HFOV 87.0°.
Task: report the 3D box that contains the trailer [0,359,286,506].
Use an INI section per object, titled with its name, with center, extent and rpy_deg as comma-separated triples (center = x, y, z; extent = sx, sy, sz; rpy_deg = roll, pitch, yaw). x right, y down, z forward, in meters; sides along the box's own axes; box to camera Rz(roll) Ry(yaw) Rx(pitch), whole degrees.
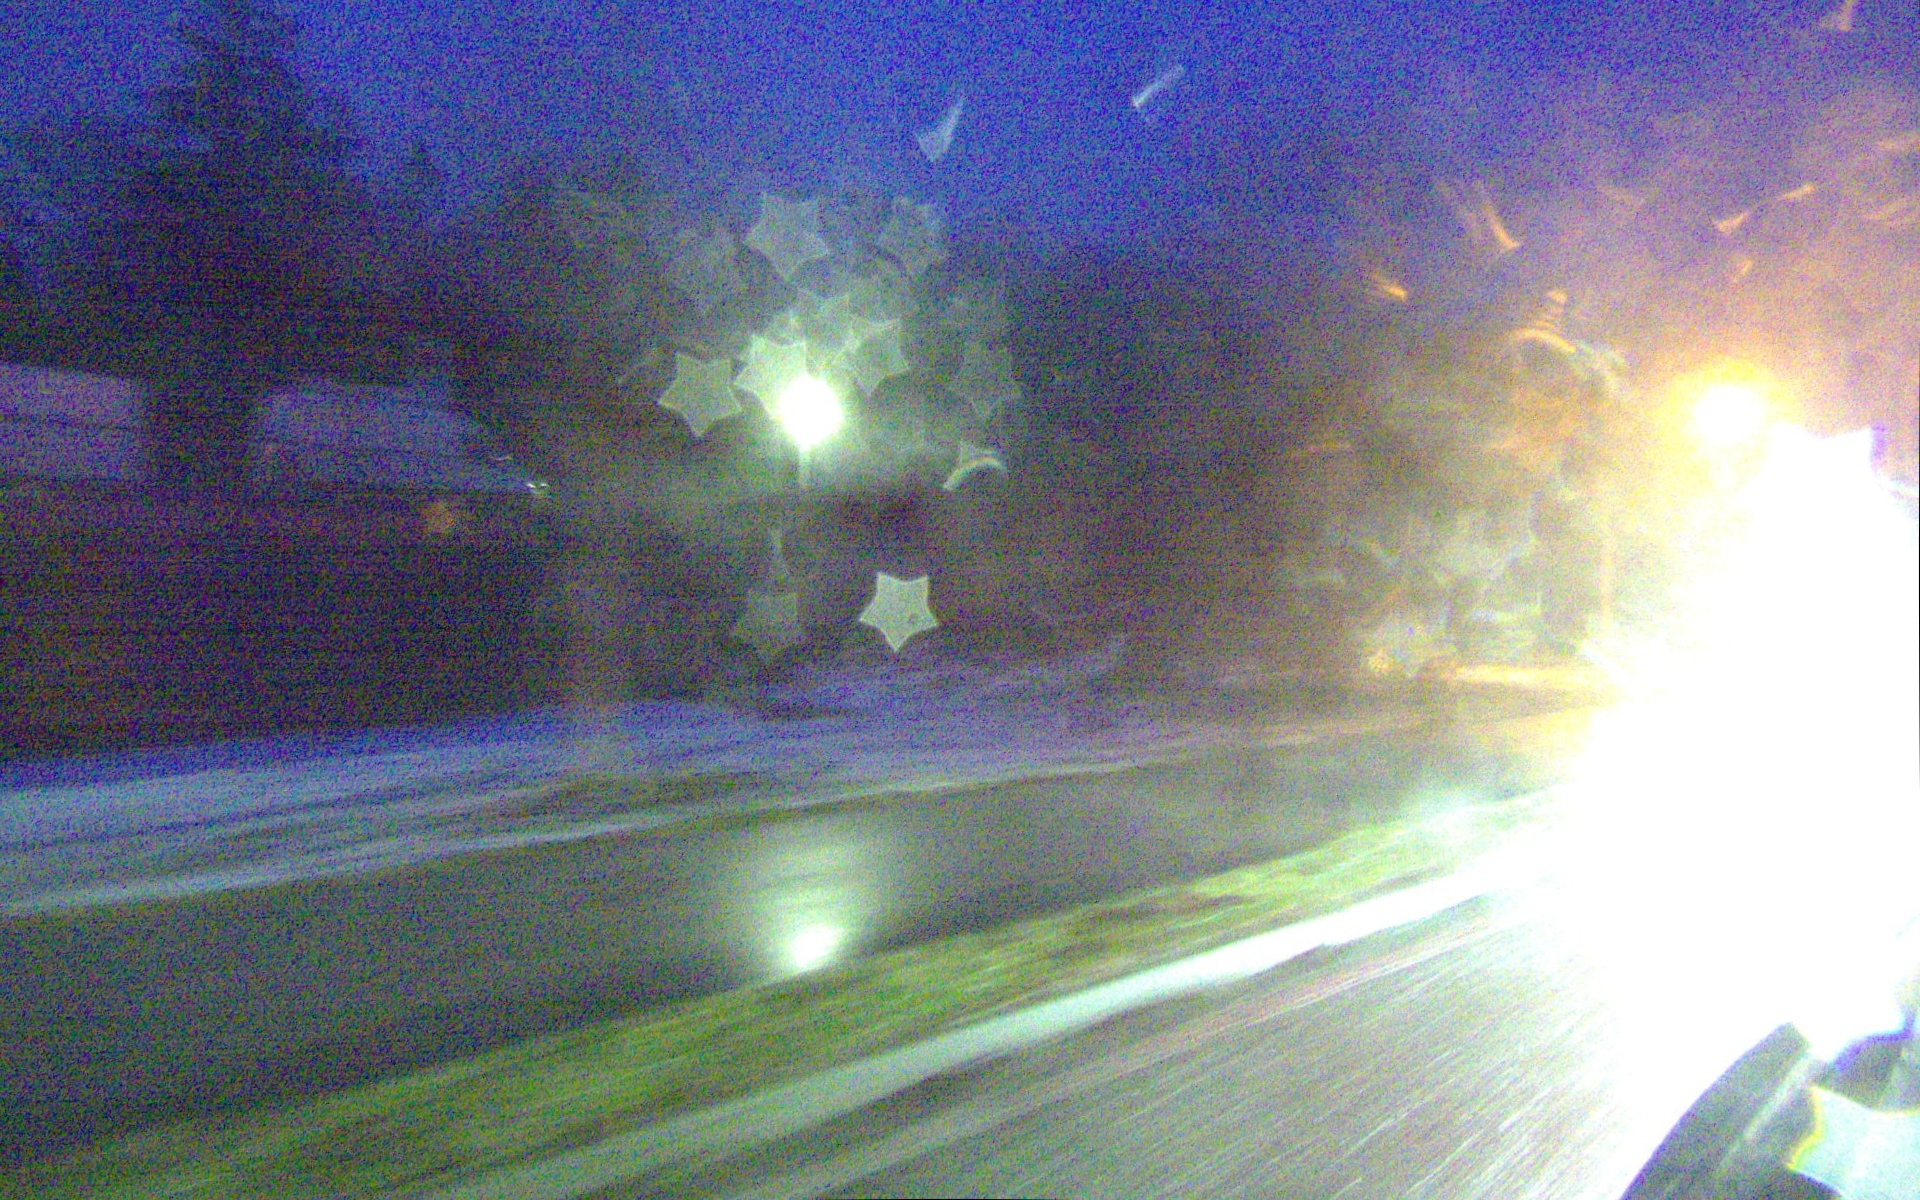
[trailer]
center = -15.911, -2.967, 18.443
extent = 2.221, 2.097, 5.643
rpy_deg = 0, 1, 38

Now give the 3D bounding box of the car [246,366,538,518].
[car]
center = -12.628, -3.366, 22.866
extent = 2.109, 2.668, 5.377
rpy_deg = 0, 1, 38
